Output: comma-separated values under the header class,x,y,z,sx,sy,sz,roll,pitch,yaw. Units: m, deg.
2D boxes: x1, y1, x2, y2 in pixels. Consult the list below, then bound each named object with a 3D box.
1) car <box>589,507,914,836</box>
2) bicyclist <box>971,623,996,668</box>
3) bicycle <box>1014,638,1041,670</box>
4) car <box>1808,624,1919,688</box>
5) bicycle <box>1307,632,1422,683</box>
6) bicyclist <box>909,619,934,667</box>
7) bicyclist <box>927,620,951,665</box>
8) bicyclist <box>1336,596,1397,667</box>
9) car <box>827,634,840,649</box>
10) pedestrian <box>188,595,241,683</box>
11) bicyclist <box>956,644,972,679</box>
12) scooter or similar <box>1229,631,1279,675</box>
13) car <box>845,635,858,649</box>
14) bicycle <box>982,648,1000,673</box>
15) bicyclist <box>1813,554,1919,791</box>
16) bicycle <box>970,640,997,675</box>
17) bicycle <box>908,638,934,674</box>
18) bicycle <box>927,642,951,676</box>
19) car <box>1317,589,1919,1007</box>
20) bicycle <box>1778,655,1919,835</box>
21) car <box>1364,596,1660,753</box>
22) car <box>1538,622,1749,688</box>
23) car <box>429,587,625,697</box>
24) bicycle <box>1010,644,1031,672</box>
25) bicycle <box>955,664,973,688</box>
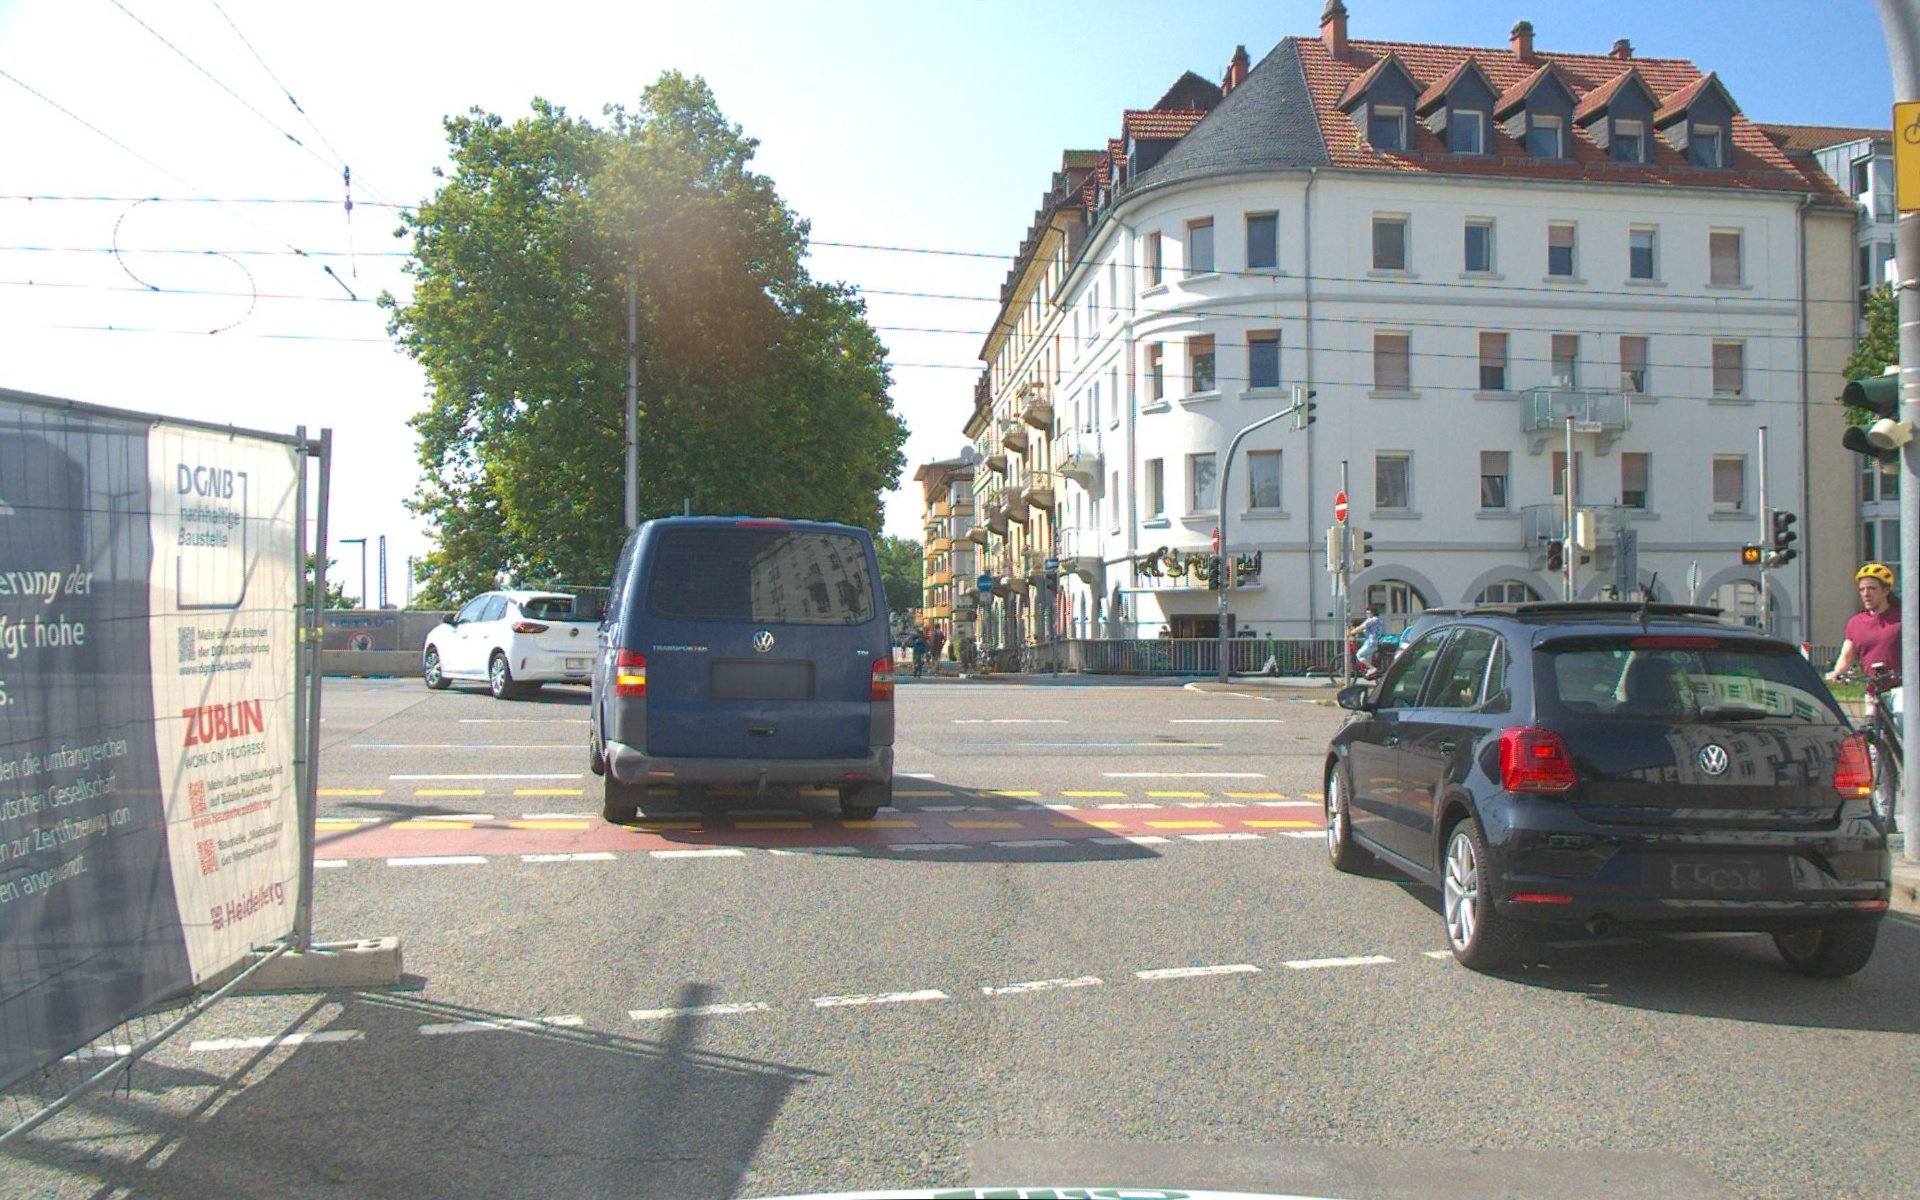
class,x,y,z,sx,sy,sz,roll,pitch,yaw
car,-1.670,0.426,11.931,1.785,1.939,4.038,1,0,-15
bicyclist,0.817,1.560,56.986,0.820,1.534,0.952,1,-2,-1
bicycle,2.512,2.004,61.678,0.820,1.157,2.858,1,-2,-1
car,21.637,1.292,37.649,3.915,1.378,1.763,1,-2,-11
bicycle,8.338,1.179,34.152,0.861,1.007,2.210,3,-2,-43
bicyclist,-1.290,1.439,55.455,0.820,1.564,1.023,1,-2,-1
bicyclist,-0.755,1.517,59.133,0.820,1.564,1.023,1,-2,-1
bicyclist,8.381,0.654,34.130,0.861,1.440,0.902,3,-2,-44
car,-15.709,5.156,206.039,1.594,1.651,3.692,1,0,-4
pedestrian,-15.891,0.823,35.263,0.855,1.826,0.811,1,0,-38
bicyclist,0.188,2.850,77.110,0.694,1.577,0.784,-1,0,-4
scooter or similar,7.736,1.382,43.504,1.273,1.137,0.339,1,-1,9
car,-13.371,5.157,203.682,1.594,1.651,3.692,1,0,-4
bicycle,1.433,2.790,76.377,0.666,1.094,2.291,1,-1,-2
bicyclist,6.232,0.474,10.975,0.903,1.504,0.593,1,-2,-25
bicycle,0.807,1.987,57.070,0.820,1.157,2.858,1,-2,-1
bicycle,-1.292,1.887,55.563,0.820,1.157,2.858,1,-2,-1
bicycle,-0.755,2.113,59.179,0.820,1.157,2.858,1,-2,-1
car,2.878,0.732,7.939,1.556,1.519,3.662,1,0,1
bicycle,6.317,0.931,11.008,1.786,1.119,0.599,1,-2,-26
car,6.416,0.802,19.065,3.625,1.583,1.671,1,1,-42
car,14.799,1.207,35.906,3.913,1.344,1.764,1,-2,-9
car,-6.199,0.604,23.490,1.702,1.430,3.372,2,-2,-33
bicycle,2.398,2.282,65.512,0.666,1.094,2.291,1,-1,-2
bicycle,0.203,3.552,77.106,0.694,1.008,1.818,-1,0,-4
